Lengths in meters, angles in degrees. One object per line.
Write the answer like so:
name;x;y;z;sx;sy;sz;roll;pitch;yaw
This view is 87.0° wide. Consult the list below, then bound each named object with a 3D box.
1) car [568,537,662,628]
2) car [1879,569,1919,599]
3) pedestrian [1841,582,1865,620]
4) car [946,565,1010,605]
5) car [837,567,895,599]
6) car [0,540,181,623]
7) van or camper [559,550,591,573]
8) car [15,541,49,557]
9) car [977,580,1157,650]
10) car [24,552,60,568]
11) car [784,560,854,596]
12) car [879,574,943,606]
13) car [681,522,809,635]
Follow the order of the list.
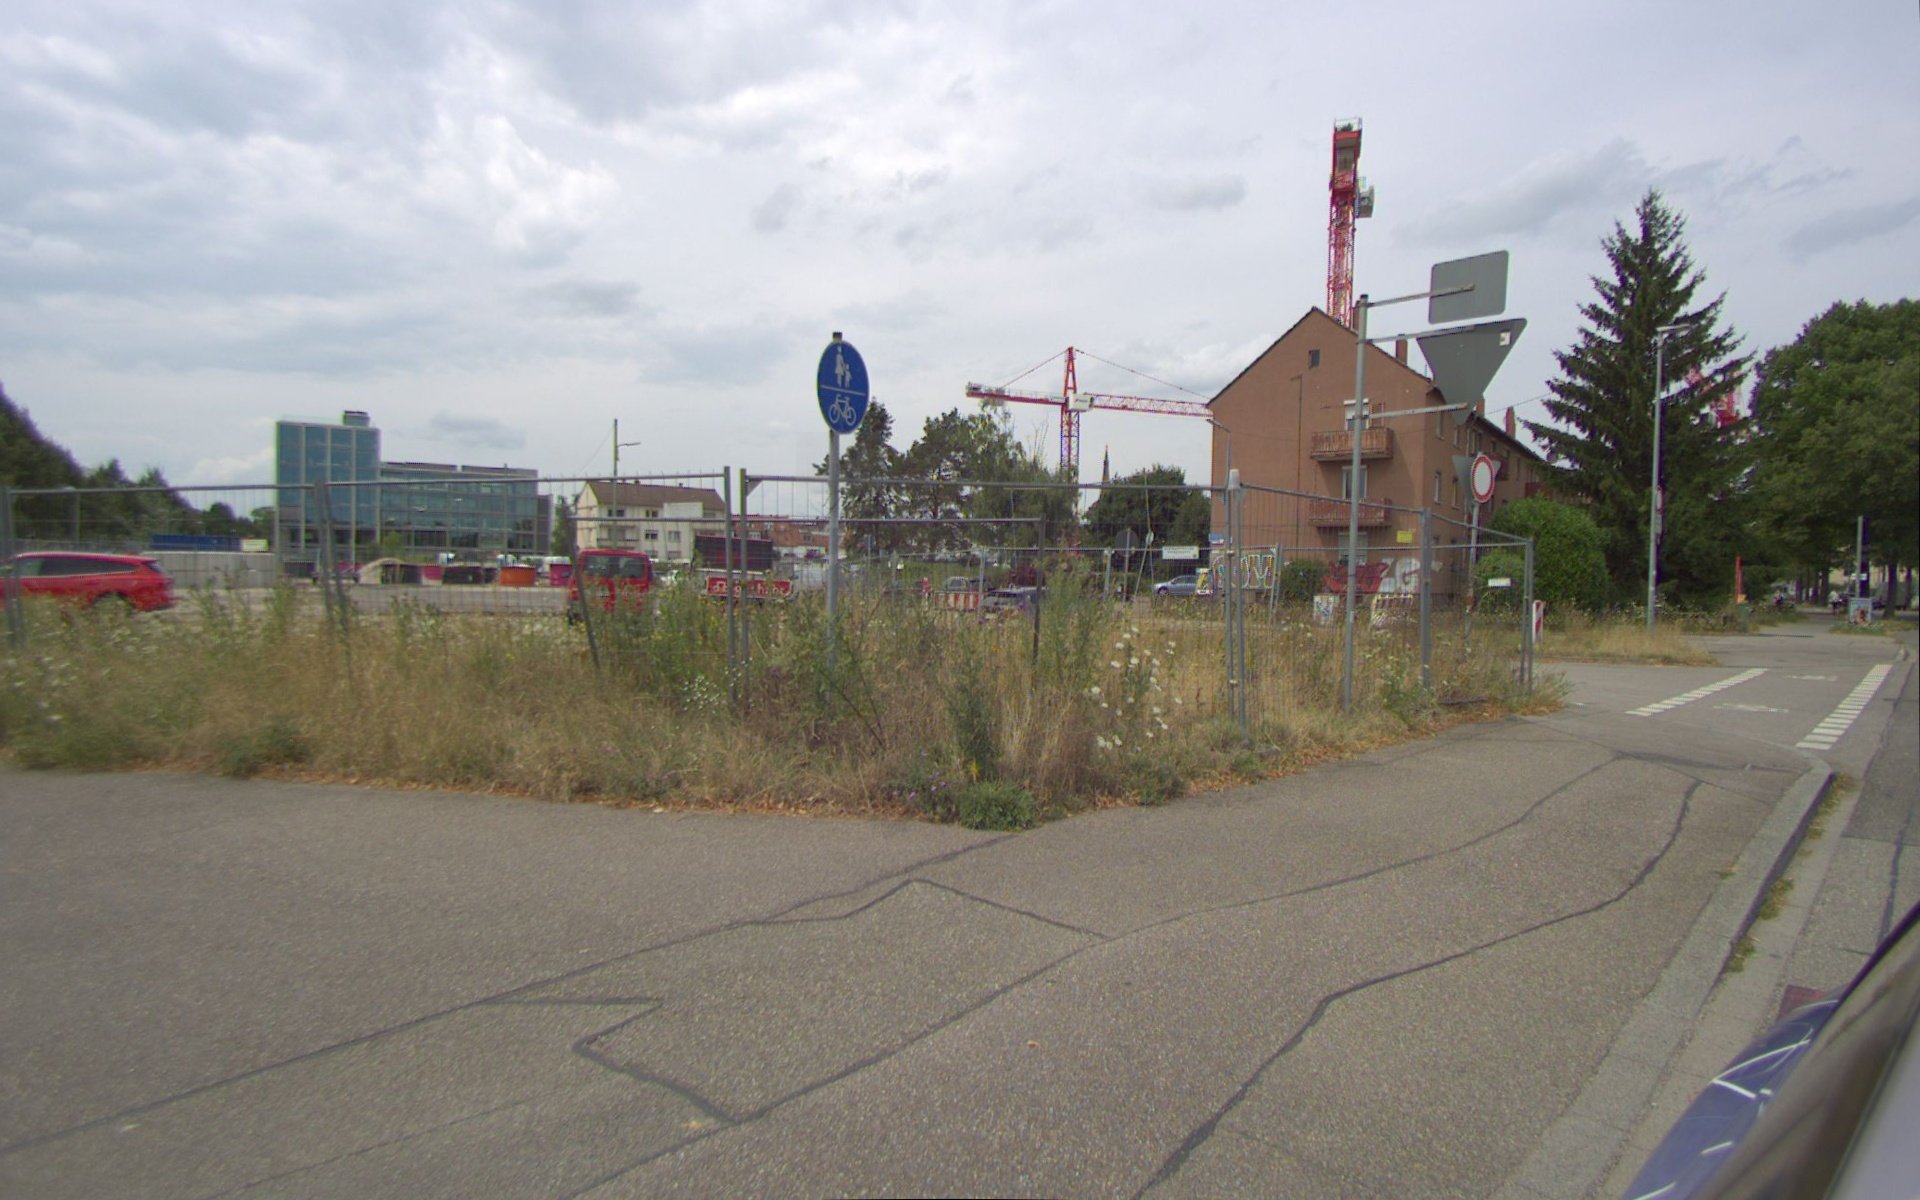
car;-8.566;-0.451;24.884;1.896;1.934;4.999;3;0;-21
car;89.049;-1.535;95.422;2.052;2.719;5.914;1;2;27
pedestrian;49.452;0.056;56.053;0.849;2.039;0.723;2;1;32
car;0.824;-0.768;49.946;1.764;1.871;4.009;0;2;-21
car;-5.458;-1.005;58.389;1.820;1.770;4.018;0;2;-31
car;-19.133;-0.389;20.706;5.046;1.624;1.788;0;2;-39
van or camper;-46.848;-4.648;123.089;2.308;2.721;5.245;0;2;-36
car;-103.776;-5.707;113.204;1.961;1.638;4.756;0;2;-33
car;2.571;0.297;23.825;4.182;1.492;1.766;0;2;-39
car;-94.732;-4.127;104.516;1.961;1.638;4.756;0;2;-32
car;-8.834;-1.385;62.958;2.109;2.162;4.906;0;2;-38
car;-2.641;-0.579;54.133;1.766;1.622;4.019;0;2;-30
car;-5.562;-0.557;25.341;2.270;2.442;6.557;0;2;-20
